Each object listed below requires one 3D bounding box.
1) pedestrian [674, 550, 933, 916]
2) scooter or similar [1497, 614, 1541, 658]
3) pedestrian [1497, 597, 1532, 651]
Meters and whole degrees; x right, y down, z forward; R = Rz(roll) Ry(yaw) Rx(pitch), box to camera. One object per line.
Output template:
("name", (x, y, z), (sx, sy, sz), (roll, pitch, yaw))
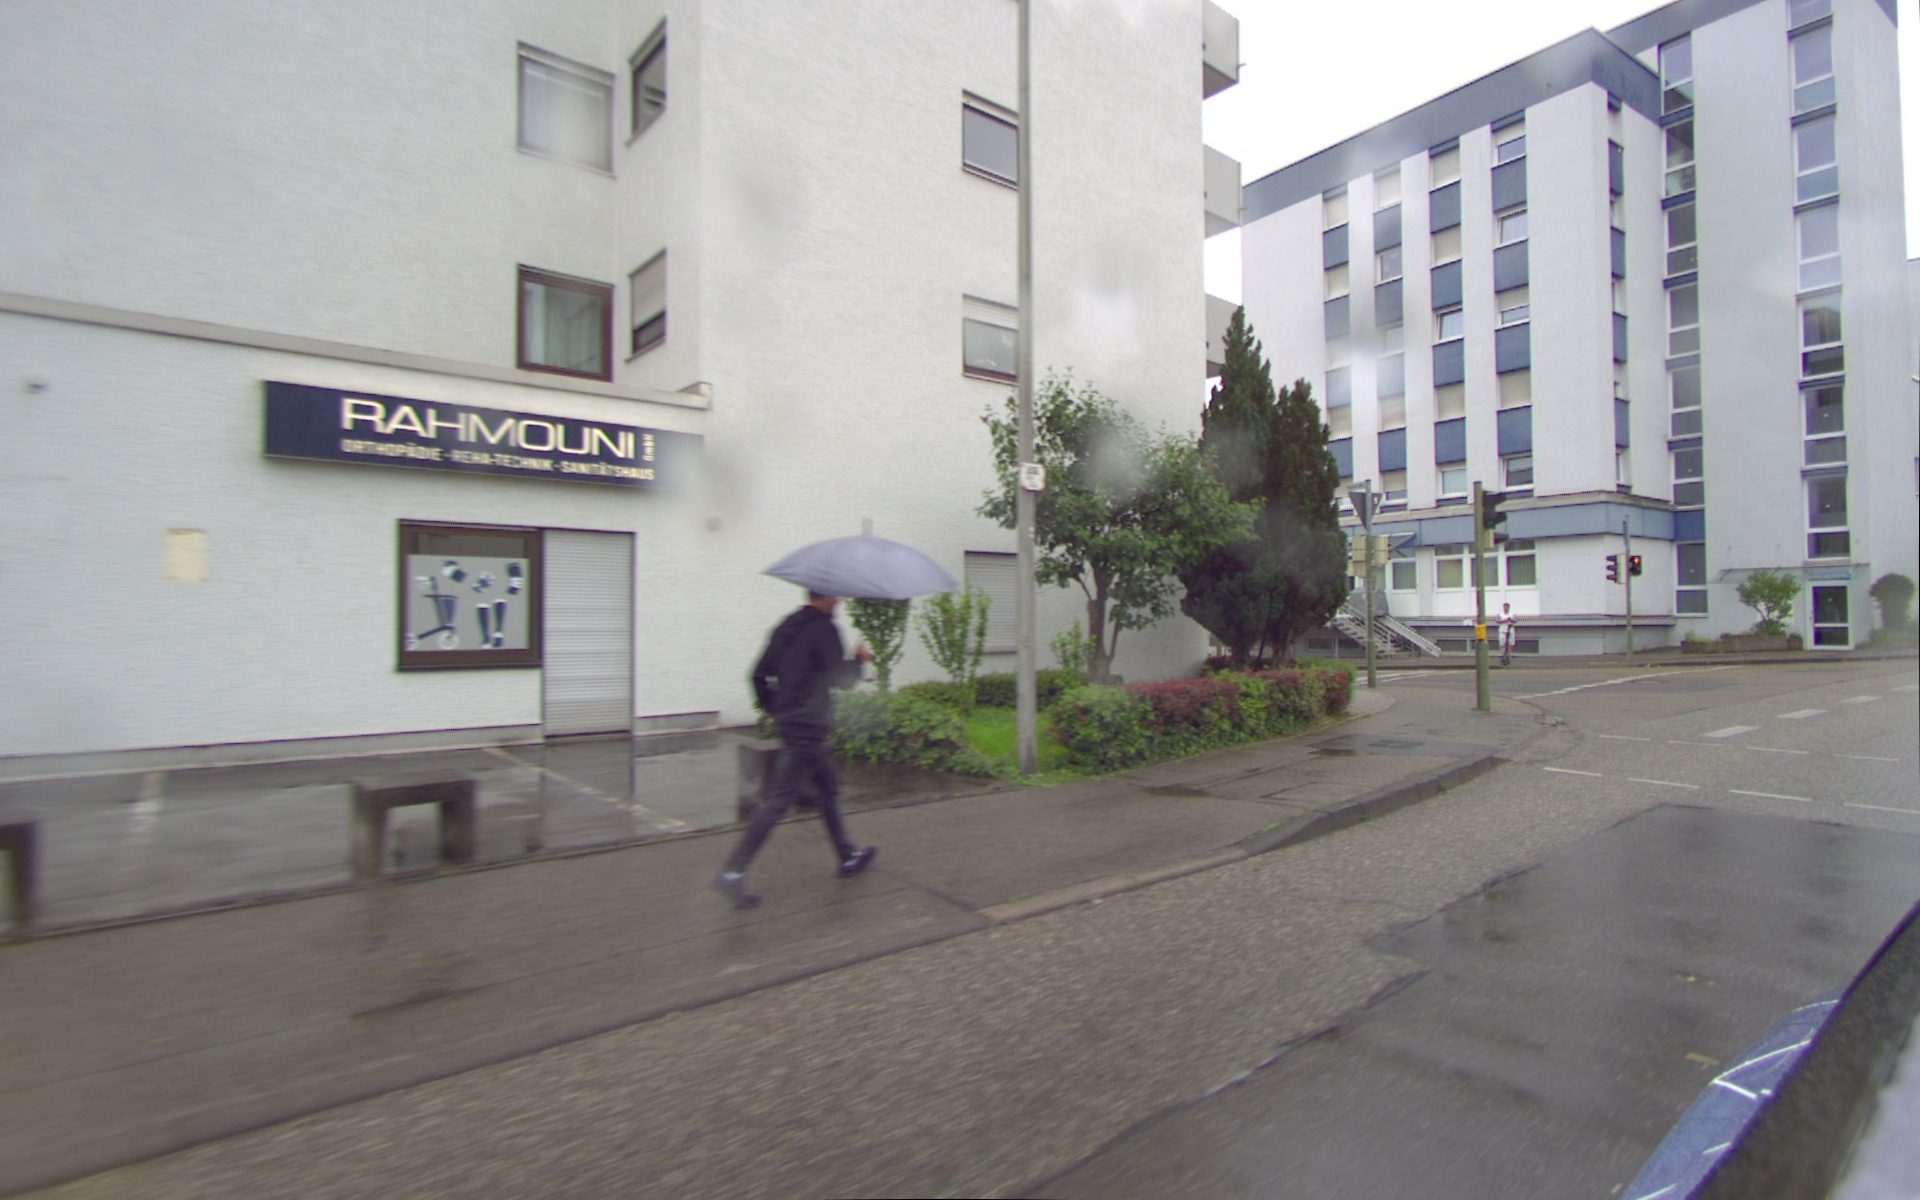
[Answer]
("pedestrian", (-0.779, 0.586, 5.006), (0.975, 1.589, 0.754), (-1, -3, -37))
("scooter or similar", (16.713, 1.068, 30.254), (0.798, 1.244, 1.045), (-7, -6, 44))
("pedestrian", (17.832, 0.775, 32.550), (0.644, 1.673, 0.645), (0, -5, -36))
